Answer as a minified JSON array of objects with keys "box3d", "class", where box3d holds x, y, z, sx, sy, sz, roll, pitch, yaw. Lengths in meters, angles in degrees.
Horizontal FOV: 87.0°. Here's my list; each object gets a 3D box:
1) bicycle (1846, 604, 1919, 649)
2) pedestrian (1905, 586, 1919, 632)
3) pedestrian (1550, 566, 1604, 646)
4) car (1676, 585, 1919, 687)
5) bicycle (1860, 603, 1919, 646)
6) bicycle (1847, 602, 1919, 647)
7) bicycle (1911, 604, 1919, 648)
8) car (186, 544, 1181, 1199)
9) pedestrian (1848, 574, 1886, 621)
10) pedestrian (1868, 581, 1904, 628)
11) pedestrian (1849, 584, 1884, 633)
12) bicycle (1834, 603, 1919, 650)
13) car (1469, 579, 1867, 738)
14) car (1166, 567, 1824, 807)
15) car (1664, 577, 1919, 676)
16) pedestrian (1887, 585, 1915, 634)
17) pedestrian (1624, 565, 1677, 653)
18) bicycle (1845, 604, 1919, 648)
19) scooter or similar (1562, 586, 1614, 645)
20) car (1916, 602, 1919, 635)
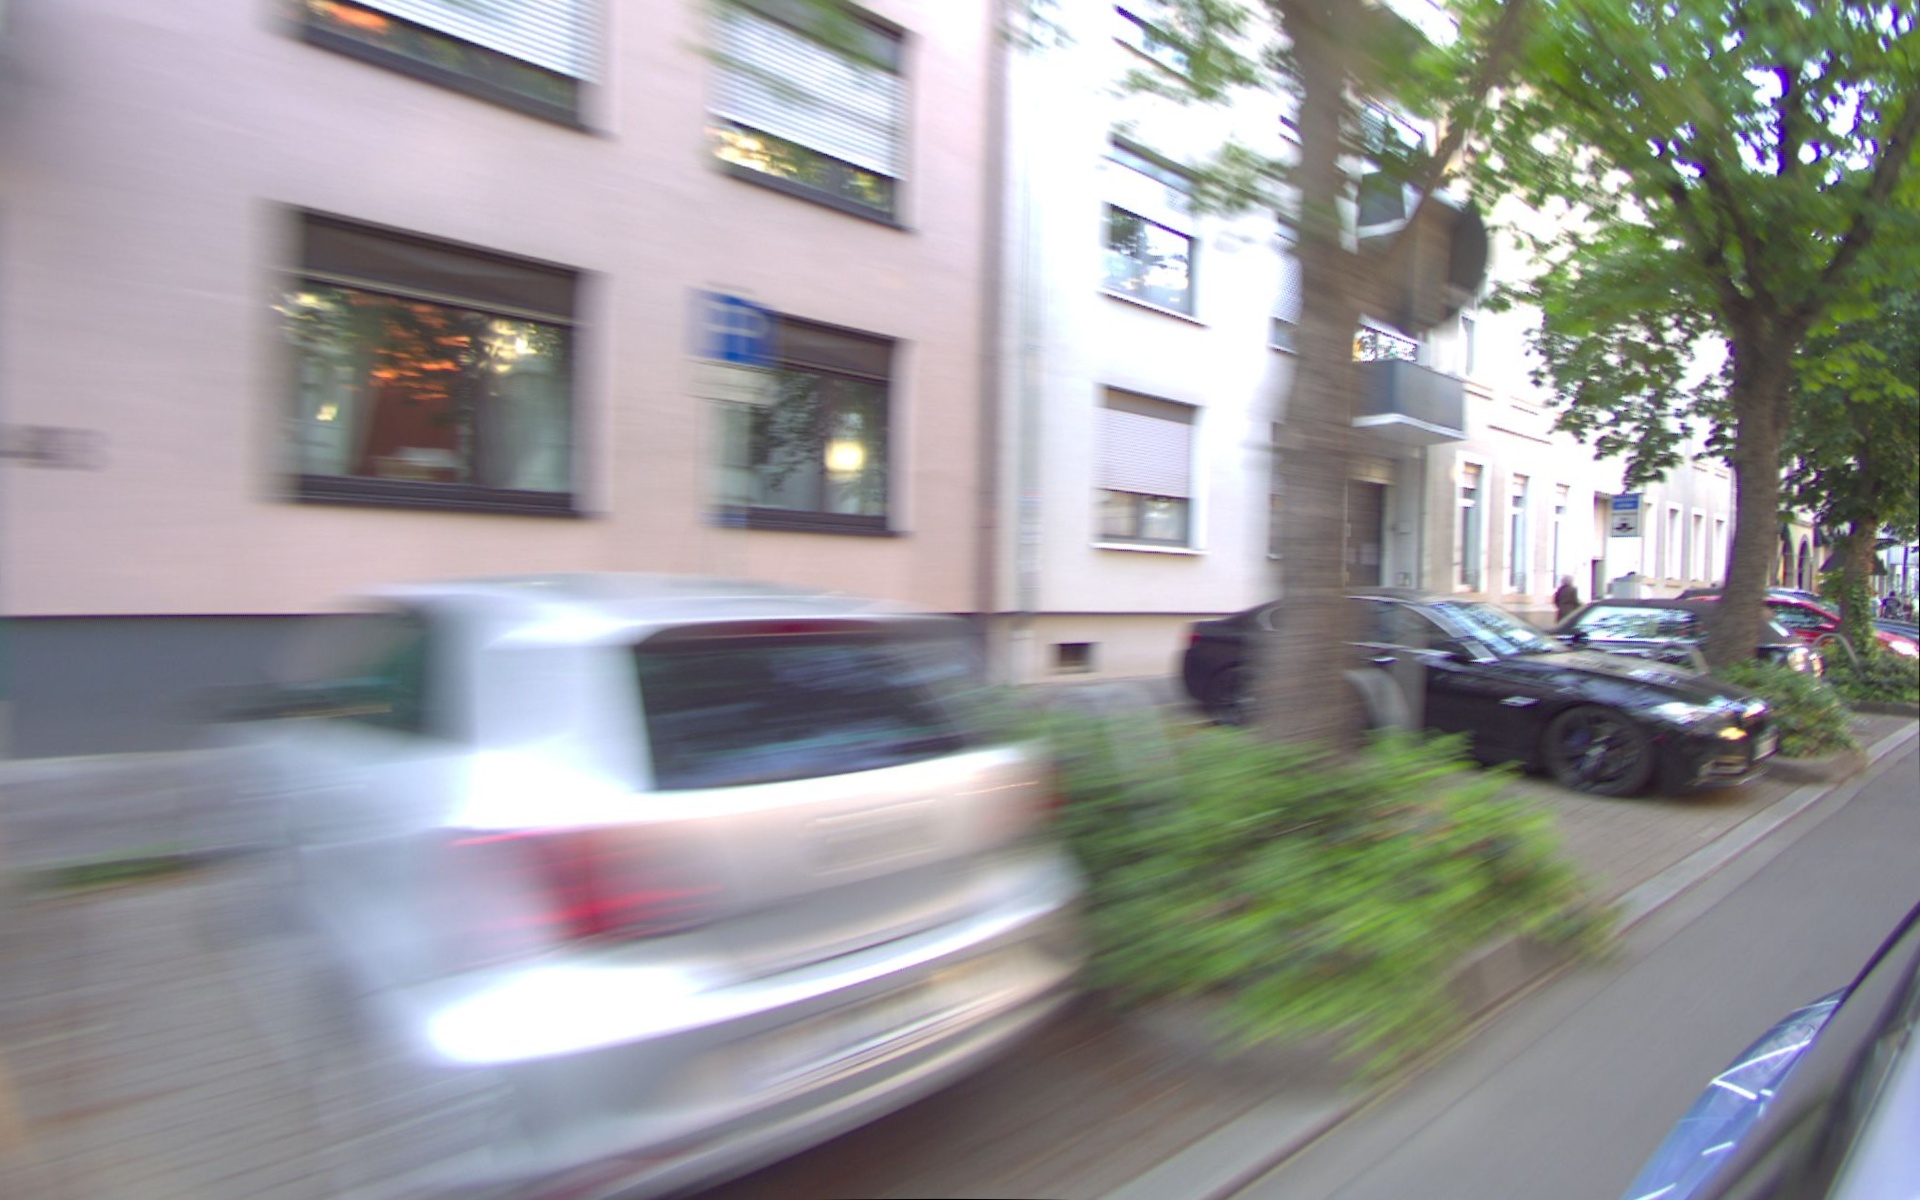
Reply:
[{"box3d":[25.534,0.717,27.745,1.795,1.121,0.492,3,2,45],"class":"bicycle"},{"box3d":[37.064,0.361,39.055,0.704,1.760,0.717,4,1,37],"class":"pedestrian"},{"box3d":[12.447,0.113,20.421,0.816,1.555,0.656,1,1,-40],"class":"pedestrian"},{"box3d":[14.620,0.550,17.347,1.867,1.470,3.489,1,2,-42],"class":"car"},{"box3d":[27.168,0.711,29.141,1.795,1.142,0.653,3,2,44],"class":"bicycle"},{"box3d":[26.441,0.687,28.761,1.793,1.157,0.641,3,2,42],"class":"bicycle"},{"box3d":[27.005,0.758,27.347,0.590,1.193,1.833,1,2,-41],"class":"bicycle"},{"box3d":[-1.384,0.580,3.620,1.817,1.457,3.882,1,2,-43],"class":"car"},{"box3d":[35.250,-0.087,39.331,0.729,1.760,0.729,3,1,-13],"class":"pedestrian"},{"box3d":[36.129,0.159,39.494,0.732,1.760,0.716,3,1,-21],"class":"pedestrian"},{"box3d":[33.132,0.306,37.008,0.774,1.760,0.676,4,1,34],"class":"pedestrian"},{"box3d":[24.914,0.697,27.439,1.793,1.157,0.659,3,2,41],"class":"bicycle"},{"box3d":[8.205,0.558,11.923,1.867,1.470,3.489,1,2,-42],"class":"car"},{"box3d":[4.355,0.511,8.959,1.999,1.439,4.722,1,2,-40],"class":"car"},{"box3d":[16.662,0.454,19.755,1.865,1.676,4.437,1,1,-39],"class":"car"},{"box3d":[35.194,0.358,37.835,0.612,1.760,0.616,2,1,-40],"class":"pedestrian"},{"box3d":[14.145,0.174,20.760,0.683,1.758,0.670,2,1,18],"class":"pedestrian"},{"box3d":[25.854,0.706,28.159,1.795,1.121,0.492,3,2,45],"class":"bicycle"},{"box3d":[12.952,0.305,20.857,0.816,1.167,0.656,1,1,-40],"class":"scooter or similar"},{"box3d":[43.169,0.969,42.336,1.853,1.410,4.410,0,4,-42],"class":"car"}]
